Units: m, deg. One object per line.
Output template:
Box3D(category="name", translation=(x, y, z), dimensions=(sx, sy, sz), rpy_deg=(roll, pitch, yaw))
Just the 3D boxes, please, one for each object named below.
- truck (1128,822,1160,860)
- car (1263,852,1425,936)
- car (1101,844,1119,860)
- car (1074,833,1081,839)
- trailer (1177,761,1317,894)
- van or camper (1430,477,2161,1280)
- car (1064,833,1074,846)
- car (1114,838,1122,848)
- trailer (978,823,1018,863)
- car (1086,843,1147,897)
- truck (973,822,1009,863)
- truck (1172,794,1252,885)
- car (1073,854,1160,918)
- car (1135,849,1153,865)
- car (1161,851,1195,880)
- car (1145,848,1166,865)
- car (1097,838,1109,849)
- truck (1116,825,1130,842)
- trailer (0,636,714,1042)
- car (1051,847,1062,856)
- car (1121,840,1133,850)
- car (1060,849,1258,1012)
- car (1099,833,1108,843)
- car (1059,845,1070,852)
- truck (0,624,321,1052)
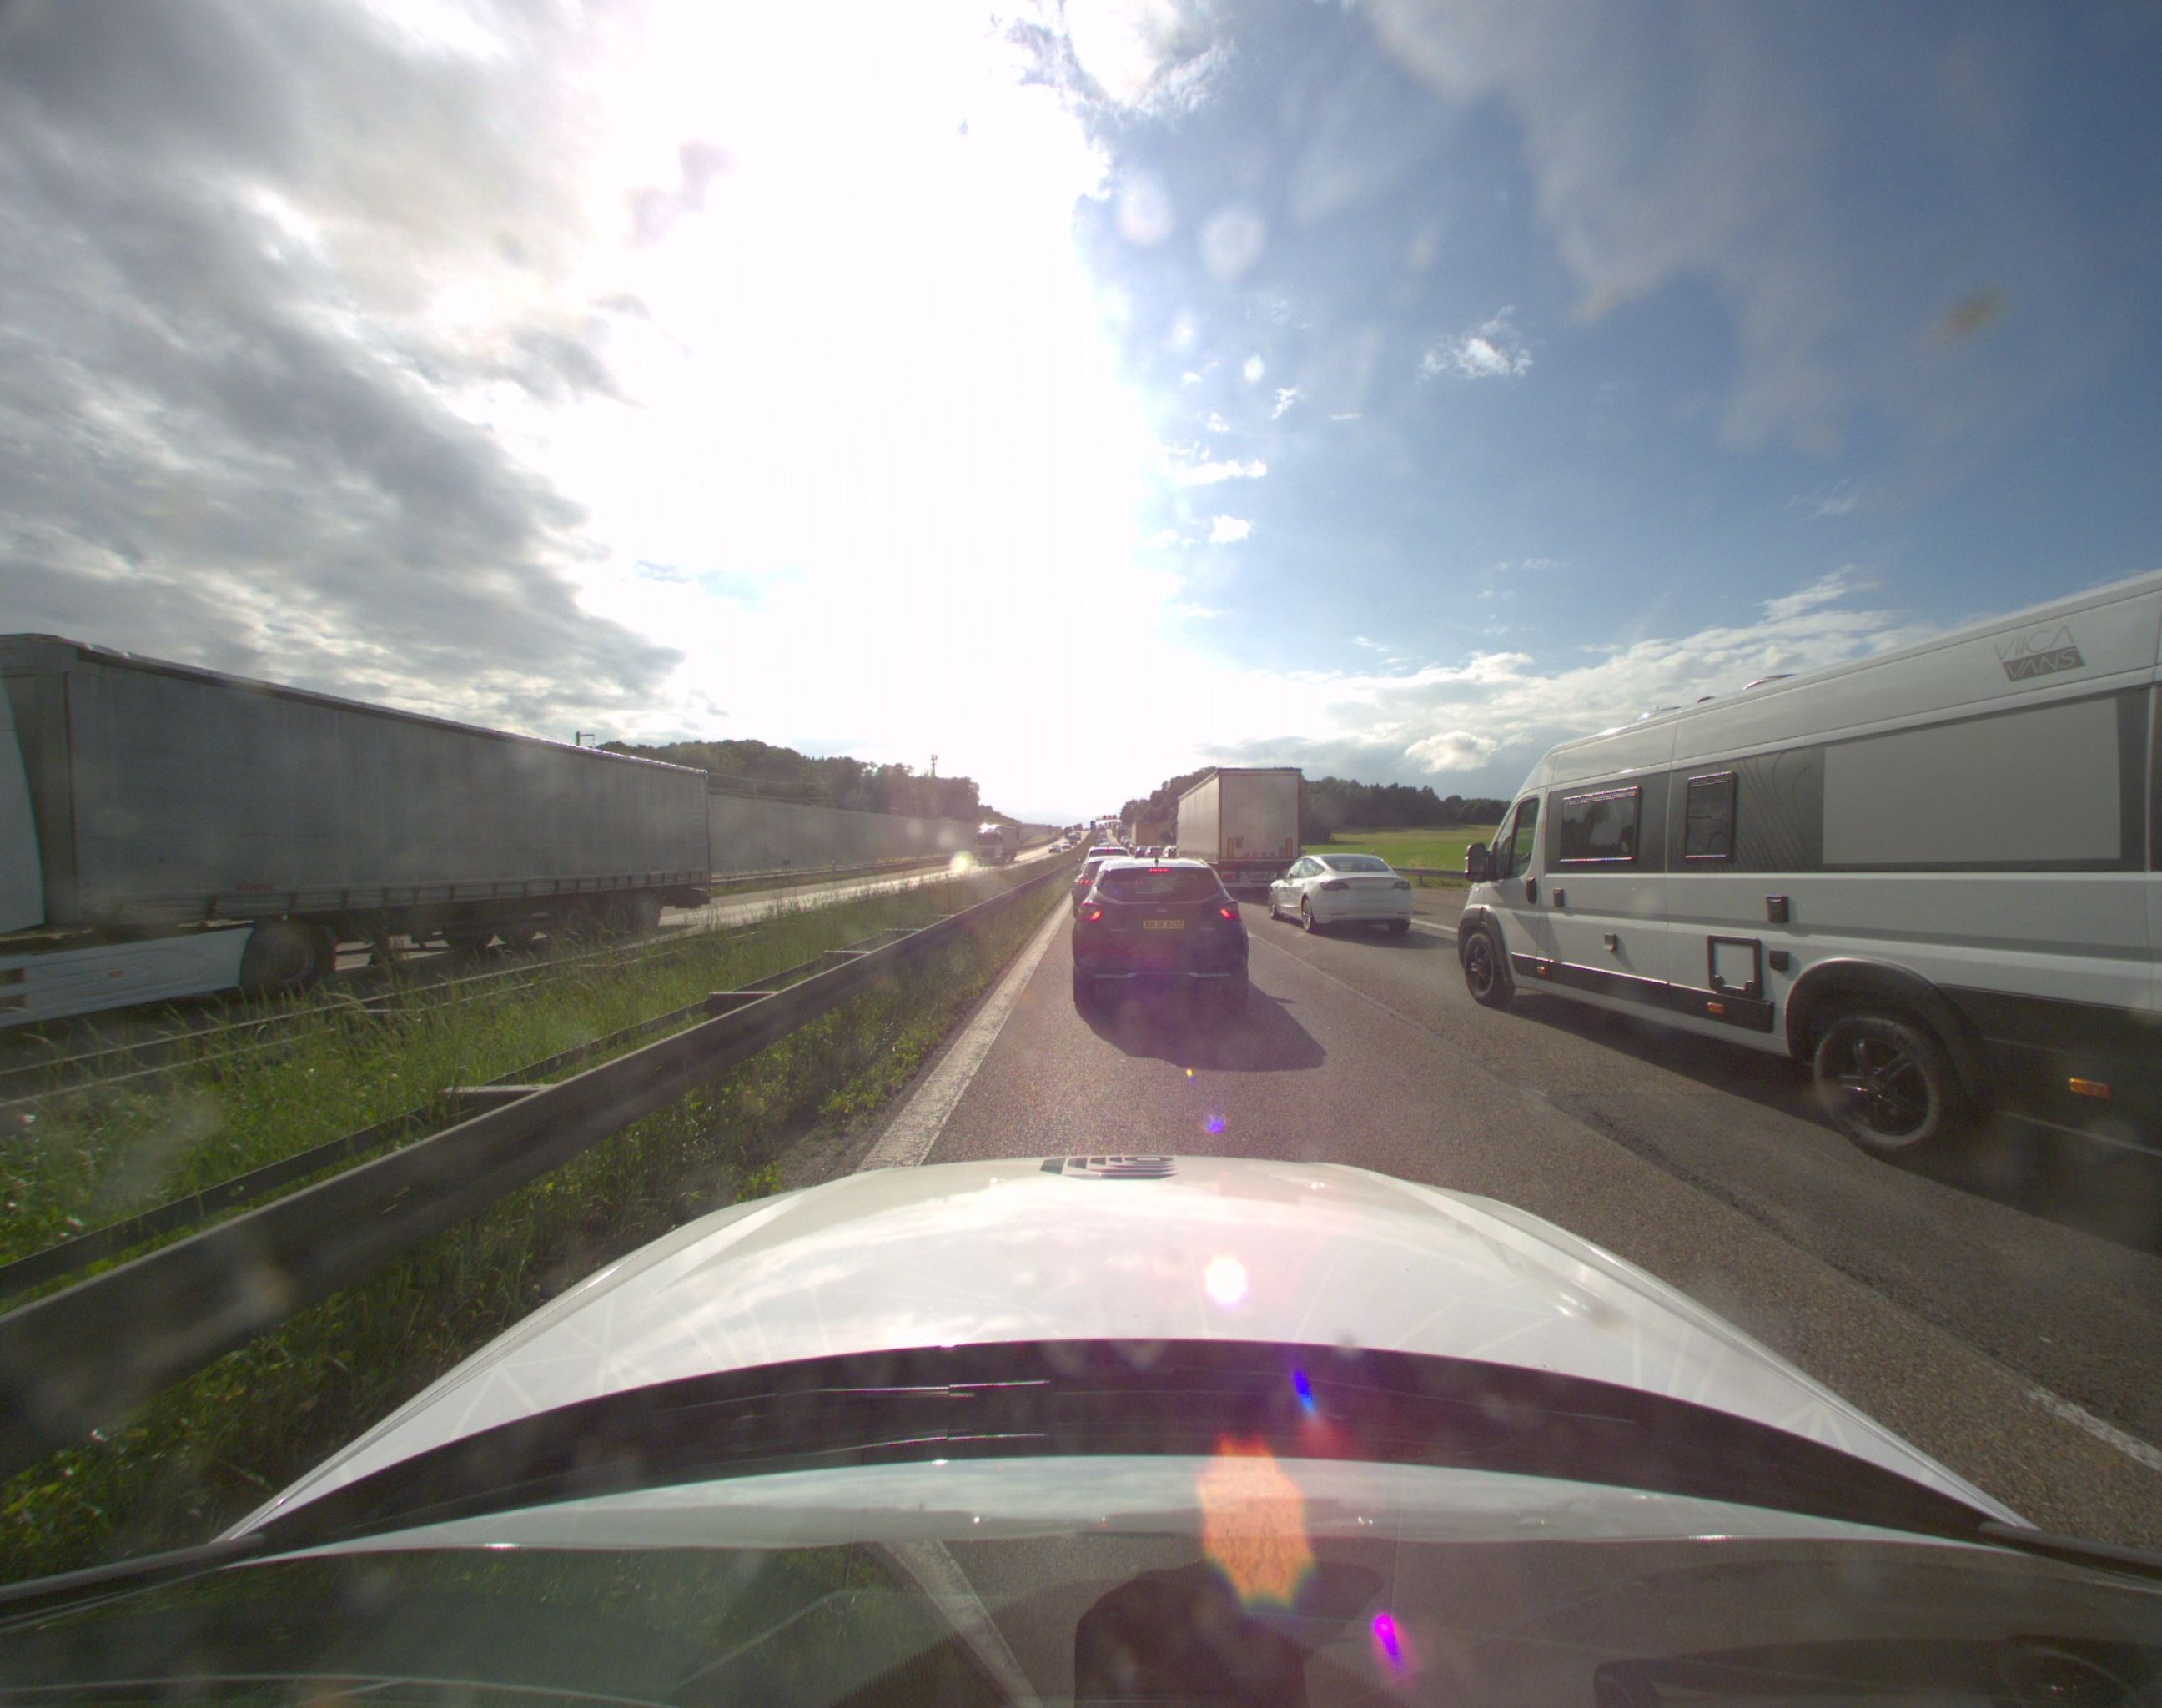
Box3D(category="truck", translation=(8.005, -1.526, 105.189), dimensions=(3.286, 4.577, 12.439), rpy_deg=(0, -1, 0))
Box3D(category="car", translation=(4.955, 0.670, 16.021), dimensions=(1.782, 1.394, 4.437), rpy_deg=(-1, 0, 1))
Box3D(category="car", translation=(3.218, -0.244, 90.544), dimensions=(1.866, 1.644, 4.234), rpy_deg=(-1, 2, 2))
Box3D(category="car", translation=(-1.033, -5.123, 237.203), dimensions=(1.903, 1.671, 4.363), rpy_deg=(-1, 1, 1))
Box3D(category="trailer", translation=(5.805, -0.708, 31.314), dimensions=(3.118, 4.011, 13.372), rpy_deg=(0, -1, 2))
Box3D(category="van or camper", translation=(4.802, 0.070, 5.611), dimensions=(2.207, 2.681, 6.335), rpy_deg=(-1, 0, 2))
Box3D(category="car", translation=(-2.695, -3.340, 189.665), dimensions=(2.096, 2.870, 5.637), rpy_deg=(-1, 0, 1))
Box3D(category="car", translation=(9.374, -2.713, 204.400), dimensions=(1.866, 2.158, 5.214), rpy_deg=(-1, 3, 1))
Box3D(category="trailer", translation=(-9.285, -1.163, 92.758), dimensions=(2.780, 4.077, 13.522), rpy_deg=(-3, 0, 1))
Box3D(category="car", translation=(1.184, 0.495, 27.676), dimensions=(1.866, 1.644, 4.234), rpy_deg=(-1, 0, 2))
Box3D(category="truck", translation=(-9.416, -1.168, 85.654), dimensions=(2.766, 4.088, 5.533), rpy_deg=(-3, 0, 1))
Box3D(category="truck", translation=(6.089, -0.598, 38.713), dimensions=(3.121, 4.016, 5.166), rpy_deg=(0, -1, 2))
Box3D(category="car", translation=(0.844, 0.703, 19.818), dimensions=(1.866, 1.357, 4.234), rpy_deg=(-1, 0, 2))
Box3D(category="car", translation=(7.084, 0.321, 91.665), dimensions=(1.866, 1.644, 4.234), rpy_deg=(-1, 0, 2))
Box3D(category="car", translation=(5.791, 0.652, 48.815), dimensions=(1.691, 1.610, 4.440), rpy_deg=(-1, 0, 3))
Box3D(category="car", translation=(7.466, 0.251, 82.105), dimensions=(1.866, 1.644, 4.234), rpy_deg=(-1, 1, 2))
Box3D(category="car", translation=(3.542, -1.745, 133.169), dimensions=(1.867, 1.644, 4.233), rpy_deg=(-1, 2, 0))
Box3D(category="truck", translation=(11.915, -5.812, 230.039), dimensions=(3.453, 4.576, 12.442), rpy_deg=(0, 1, 0))
Box3D(category="trailer", translation=(-11.423, -0.118, 15.045), dimensions=(2.674, 4.038, 13.795), rpy_deg=(-2, 0, 1))
Box3D(category="car", translation=(-3.979, -0.417, 133.338), dimensions=(1.646, 1.451, 3.957), rpy_deg=(-1, 0, 1))
Box3D(category="car", translation=(8.324, -1.579, 147.304), dimensions=(1.868, 1.644, 4.230), rpy_deg=(-1, 2, -2))
Box3D(category="car", translation=(0.779, 0.699, 9.545), dimensions=(1.766, 1.451, 4.234), rpy_deg=(-1, 0, 2))
Box3D(category="car", translation=(4.938, -3.488, 177.278), dimensions=(1.866, 2.158, 5.214), rpy_deg=(-1, 3, 1))
Box3D(category="car", translation=(-3.210, -1.056, 161.926), dimensions=(1.866, 1.451, 4.234), rpy_deg=(-1, 0, 2))
Box3D(category="truck", translation=(-11.595, -0.121, 7.928), dimensions=(2.675, 4.068, 5.881), rpy_deg=(-2, 0, 1))
